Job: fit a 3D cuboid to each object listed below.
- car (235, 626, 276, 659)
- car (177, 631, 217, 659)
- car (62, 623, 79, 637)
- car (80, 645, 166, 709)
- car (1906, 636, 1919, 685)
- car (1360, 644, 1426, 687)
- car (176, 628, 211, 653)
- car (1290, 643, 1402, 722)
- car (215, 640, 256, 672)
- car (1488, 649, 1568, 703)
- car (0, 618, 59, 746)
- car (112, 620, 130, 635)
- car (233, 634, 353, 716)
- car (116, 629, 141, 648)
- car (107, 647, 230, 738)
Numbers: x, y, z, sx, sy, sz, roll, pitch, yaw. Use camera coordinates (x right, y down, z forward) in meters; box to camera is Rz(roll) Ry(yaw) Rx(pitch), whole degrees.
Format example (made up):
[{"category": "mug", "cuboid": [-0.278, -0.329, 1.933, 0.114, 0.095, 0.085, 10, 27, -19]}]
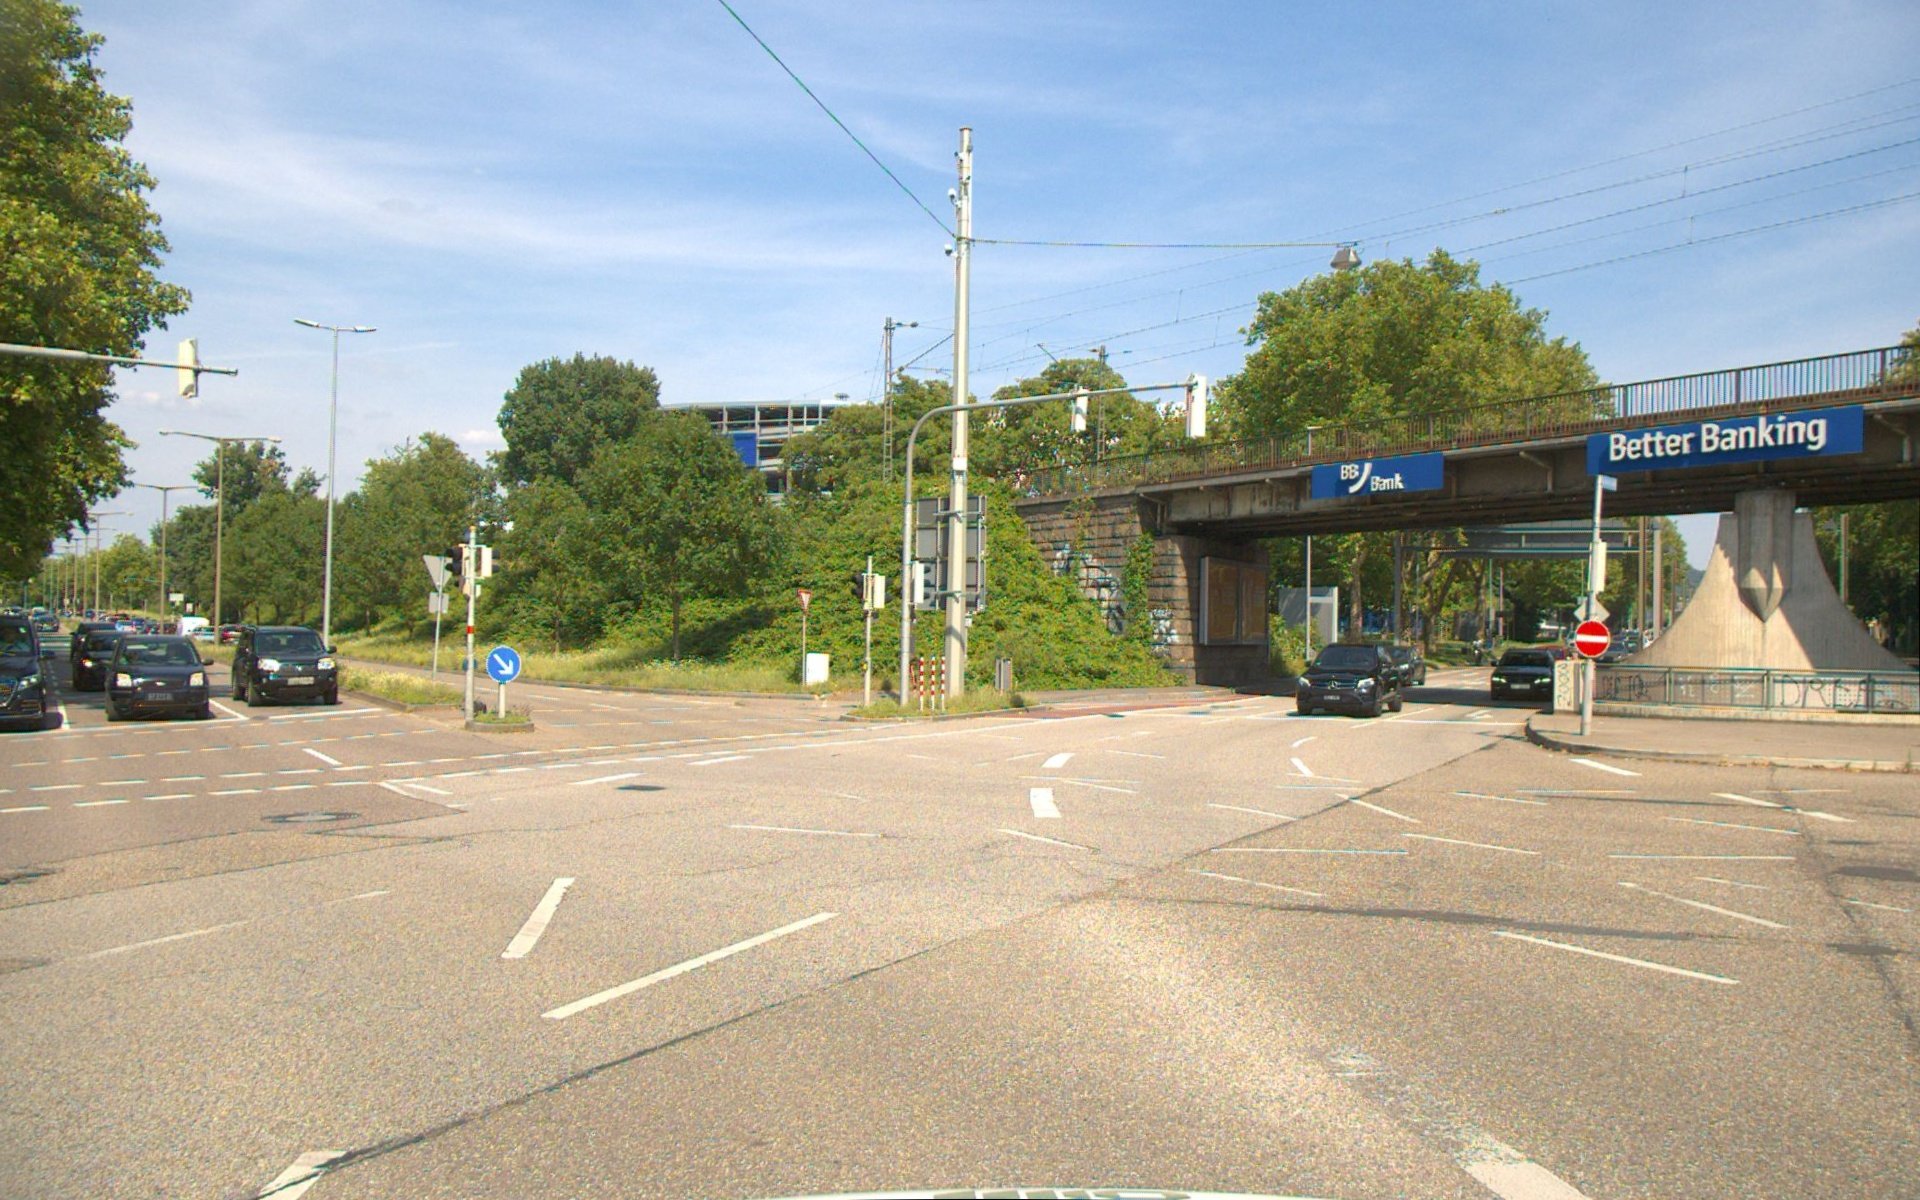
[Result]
[{"category": "car", "cuboid": [-45.479, 2.721, 106.786, 1.996, 1.870, 3.961, 2, 0, -29]}, {"category": "car", "cuboid": [-49.666, 2.905, 107.628, 1.972, 1.713, 3.960, 2, -1, -30]}, {"category": "car", "cuboid": [-120.749, 4.079, 224.445, 1.971, 1.892, 3.962, 1, -2, -28]}, {"category": "car", "cuboid": [-21.729, 1.942, 42.864, 1.816, 1.488, 4.473, -1, -1, -29]}, {"category": "car", "cuboid": [33.673, 2.098, 56.445, 1.899, 1.629, 3.998, 2, 0, 23]}, {"category": "car", "cuboid": [16.134, 2.415, 61.502, 1.785, 1.533, 4.214, 0, -2, 23]}, {"category": "car", "cuboid": [-54.866, 2.901, 118.383, 1.972, 1.738, 4.221, 1, -2, -29]}, {"category": "car", "cuboid": [9.148, 1.890, 38.922, 1.952, 1.624, 4.445, 1, 0, 21]}, {"category": "car", "cuboid": [-41.464, 3.198, 94.604, 1.718, 1.562, 3.961, 2, 0, -29]}, {"category": "car", "cuboid": [16.626, 2.192, 48.280, 1.654, 1.467, 3.995, 0, -1, 27]}, {"category": "car", "cuboid": [-16.755, 1.333, 28.625, 1.917, 1.953, 5.176, 2, 0, -30]}, {"category": "car", "cuboid": [-113.195, 3.717, 223.084, 1.892, 1.878, 3.958, 2, -1, -31]}, {"category": "car", "cuboid": [-14.710, 1.596, 36.356, 1.789, 1.644, 4.444, 1, -1, -31]}, {"category": "car", "cuboid": [-72.215, 3.326, 143.630, 1.609, 1.509, 4.007, 4, -3, -30]}, {"category": "car", "cuboid": [-14.701, 1.652, 30.621, 1.743, 1.501, 3.918, 2, -1, -30]}]
